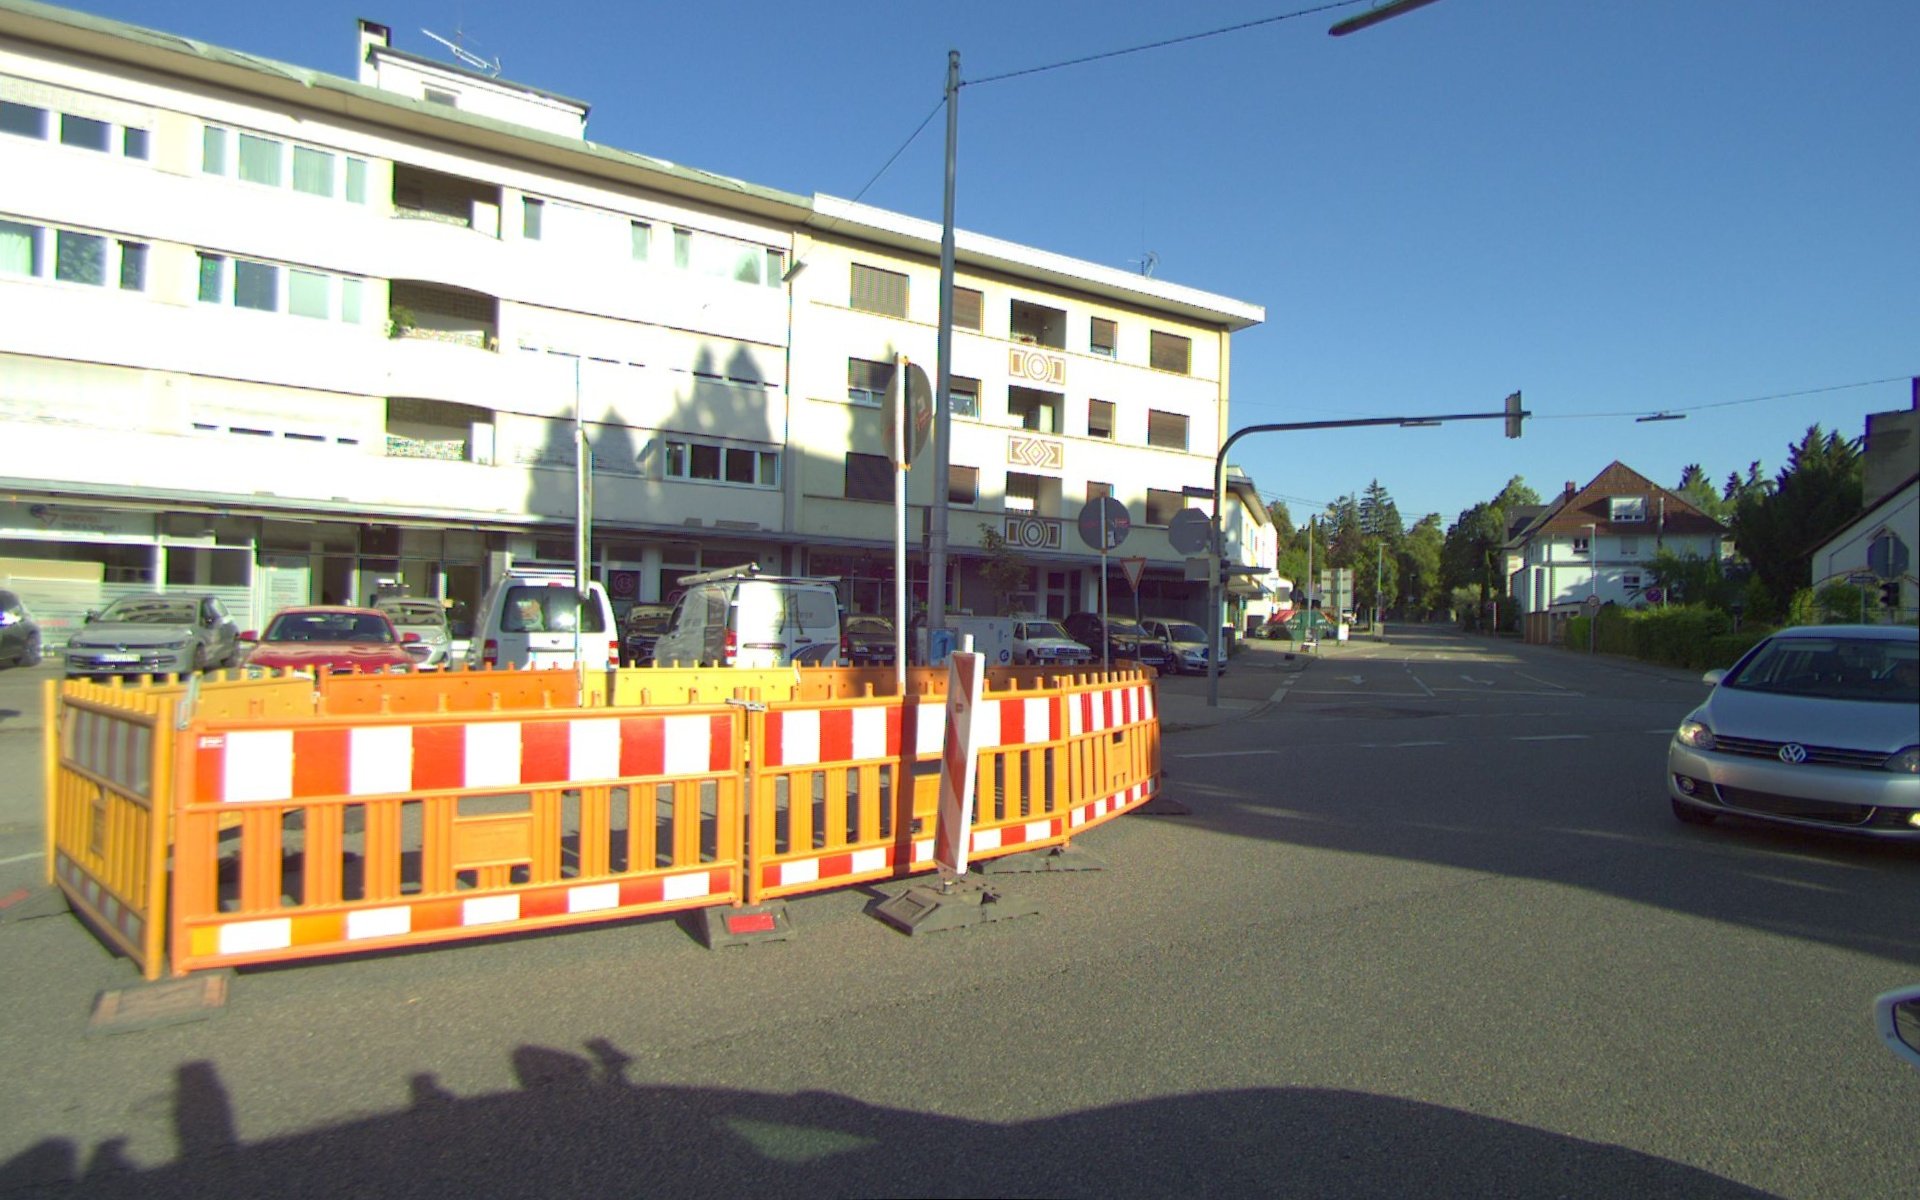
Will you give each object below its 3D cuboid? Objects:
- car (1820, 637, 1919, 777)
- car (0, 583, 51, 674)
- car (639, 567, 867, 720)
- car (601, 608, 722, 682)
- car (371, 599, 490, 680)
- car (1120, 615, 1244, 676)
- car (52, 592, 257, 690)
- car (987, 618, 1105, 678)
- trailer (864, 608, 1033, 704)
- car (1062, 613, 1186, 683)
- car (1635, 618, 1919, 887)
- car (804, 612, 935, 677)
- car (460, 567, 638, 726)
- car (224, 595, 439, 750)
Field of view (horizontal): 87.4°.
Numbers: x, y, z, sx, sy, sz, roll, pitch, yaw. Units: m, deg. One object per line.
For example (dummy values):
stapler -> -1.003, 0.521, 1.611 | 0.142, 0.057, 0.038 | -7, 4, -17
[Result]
car -> 12.329, 1.250, 12.147 | 4.050, 1.500, 1.766 | 1, 0, -32
car -> -17.272, 0.479, 16.726 | 1.974, 1.532, 4.299 | 1, 0, -26
car -> -3.383, 0.542, 15.572 | 2.092, 1.991, 4.644 | 1, 0, -30
car -> -6.886, 0.955, 22.894 | 1.974, 1.417, 4.299 | 1, 0, -26
car -> -10.940, 0.756, 21.006 | 1.974, 1.417, 4.299 | 1, 0, -26
car -> 6.721, 1.347, 30.934 | 1.966, 1.632, 4.315 | 1, 0, -14
car -> -14.580, 0.663, 18.478 | 1.974, 1.530, 4.299 | 1, 0, -26
car -> 2.307, 1.290, 28.188 | 1.966, 1.417, 4.314 | 2, 0, -14
trailer -> -0.286, 0.909, 17.610 | 1.556, 1.415, 3.238 | 1, 0, -30
car -> 4.650, 1.332, 29.162 | 1.966, 1.738, 4.314 | 1, 0, -14
car -> 6.997, 0.970, 7.758 | 3.963, 1.563, 1.762 | 1, 0, -37
car -> -2.442, 1.095, 25.922 | 1.974, 1.417, 4.299 | 1, 0, -26
car -> -5.881, 0.534, 14.184 | 1.973, 1.876, 4.300 | 1, 0, -25
car -> -7.813, 0.774, 12.762 | 1.976, 1.499, 3.972 | 1, 1, -29
